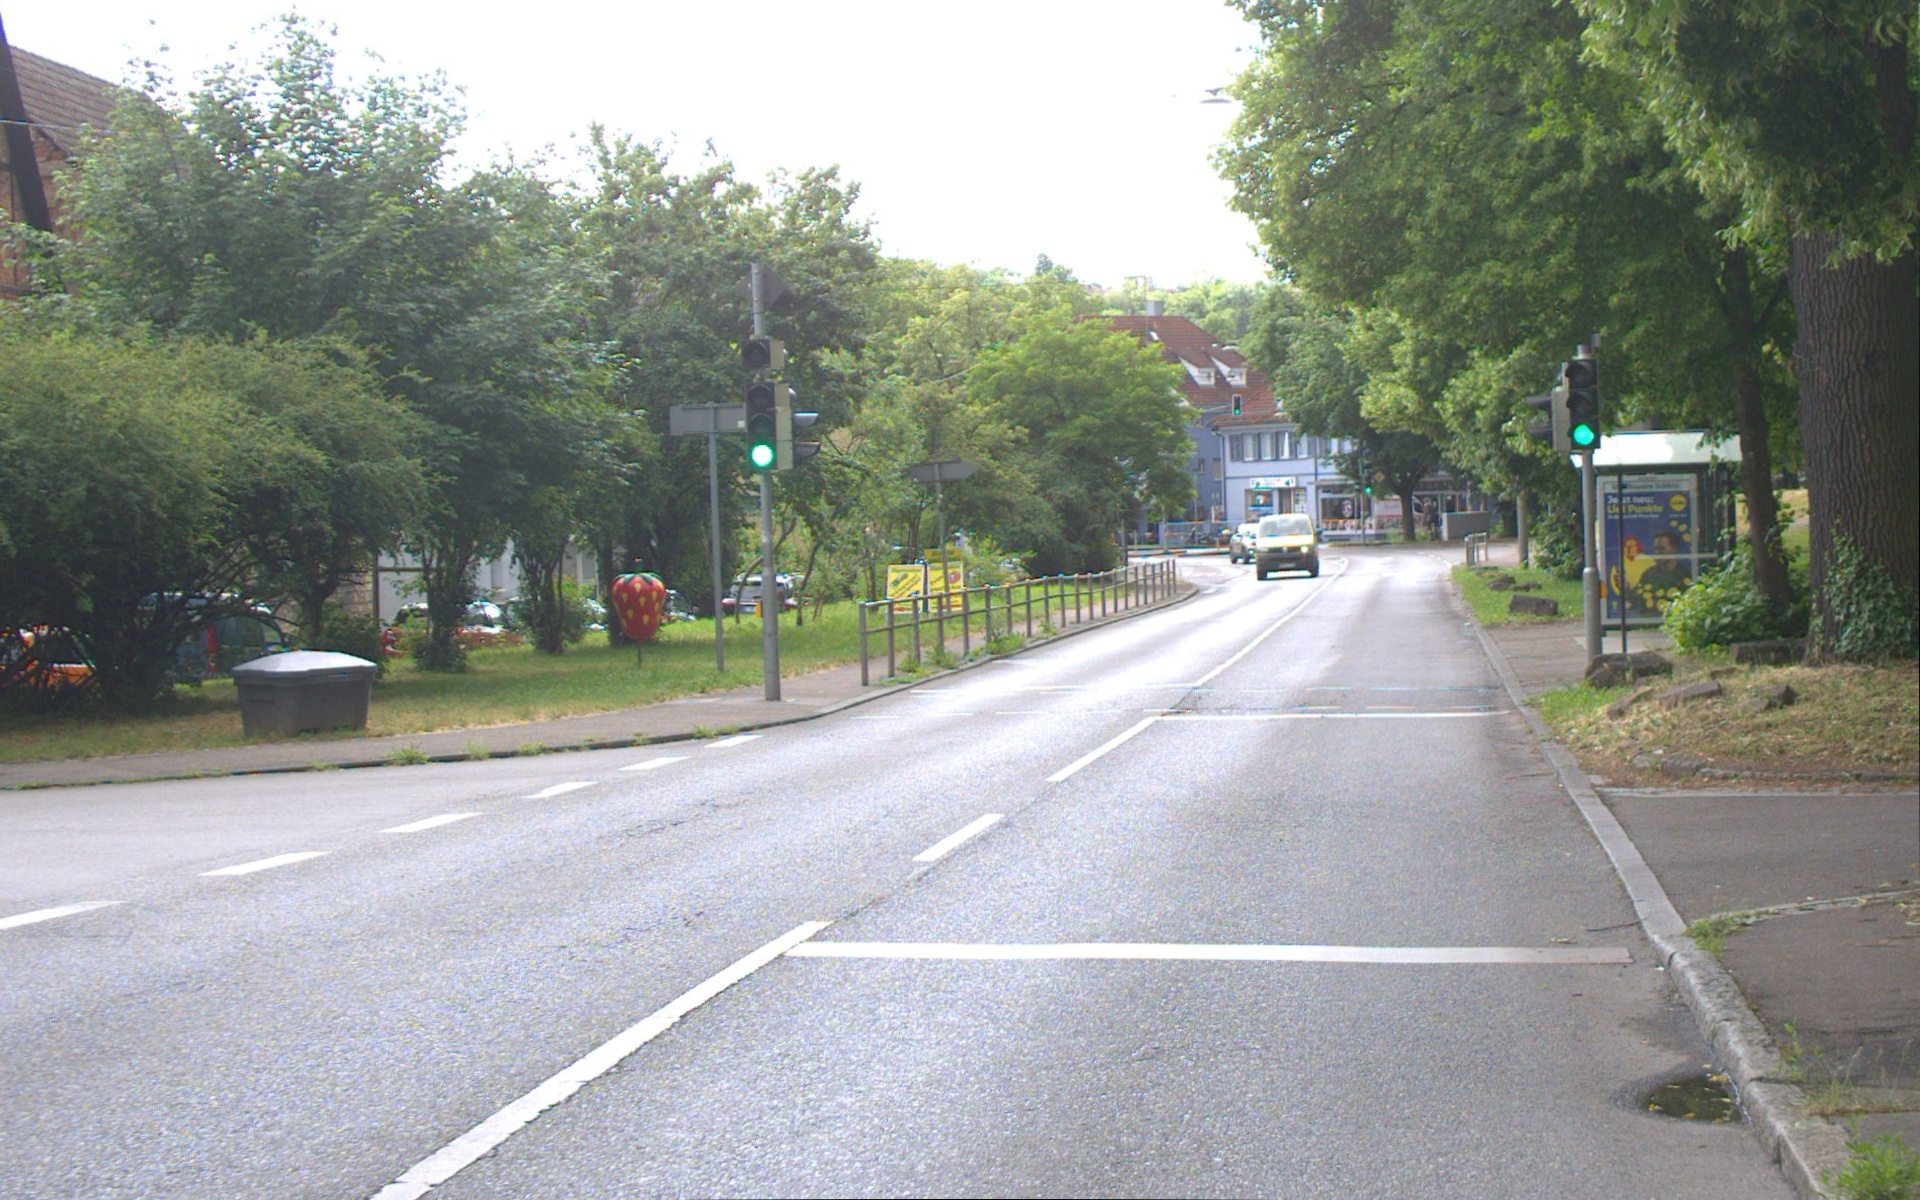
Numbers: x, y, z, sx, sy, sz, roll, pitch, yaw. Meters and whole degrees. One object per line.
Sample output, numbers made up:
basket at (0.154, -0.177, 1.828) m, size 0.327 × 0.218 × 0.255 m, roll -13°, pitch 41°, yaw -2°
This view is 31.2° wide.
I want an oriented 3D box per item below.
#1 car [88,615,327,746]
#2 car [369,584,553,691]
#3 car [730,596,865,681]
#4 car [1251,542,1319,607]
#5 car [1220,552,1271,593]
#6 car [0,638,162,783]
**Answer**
car at (-10.640, 1.110, 48.879) m, size 1.812 × 1.612 × 3.998 m, roll -4°, pitch 0°, yaw 11°
car at (-8.470, 0.611, 58.680) m, size 1.812 × 1.612 × 3.998 m, roll -4°, pitch 0°, yaw 11°
car at (-3.641, 0.845, 77.846) m, size 1.922 × 1.689 × 3.998 m, roll -3°, pitch 0°, yaw 14°
car at (10.149, -0.815, 107.022) m, size 1.846 × 1.924 × 4.768 m, roll -2°, pitch 0°, yaw 8°
car at (11.476, -1.129, 138.122) m, size 1.705 × 1.506 × 3.999 m, roll -4°, pitch 0°, yaw 8°
car at (-11.868, 1.399, 43.415) m, size 1.949 × 1.612 × 3.998 m, roll -4°, pitch 0°, yaw 11°
